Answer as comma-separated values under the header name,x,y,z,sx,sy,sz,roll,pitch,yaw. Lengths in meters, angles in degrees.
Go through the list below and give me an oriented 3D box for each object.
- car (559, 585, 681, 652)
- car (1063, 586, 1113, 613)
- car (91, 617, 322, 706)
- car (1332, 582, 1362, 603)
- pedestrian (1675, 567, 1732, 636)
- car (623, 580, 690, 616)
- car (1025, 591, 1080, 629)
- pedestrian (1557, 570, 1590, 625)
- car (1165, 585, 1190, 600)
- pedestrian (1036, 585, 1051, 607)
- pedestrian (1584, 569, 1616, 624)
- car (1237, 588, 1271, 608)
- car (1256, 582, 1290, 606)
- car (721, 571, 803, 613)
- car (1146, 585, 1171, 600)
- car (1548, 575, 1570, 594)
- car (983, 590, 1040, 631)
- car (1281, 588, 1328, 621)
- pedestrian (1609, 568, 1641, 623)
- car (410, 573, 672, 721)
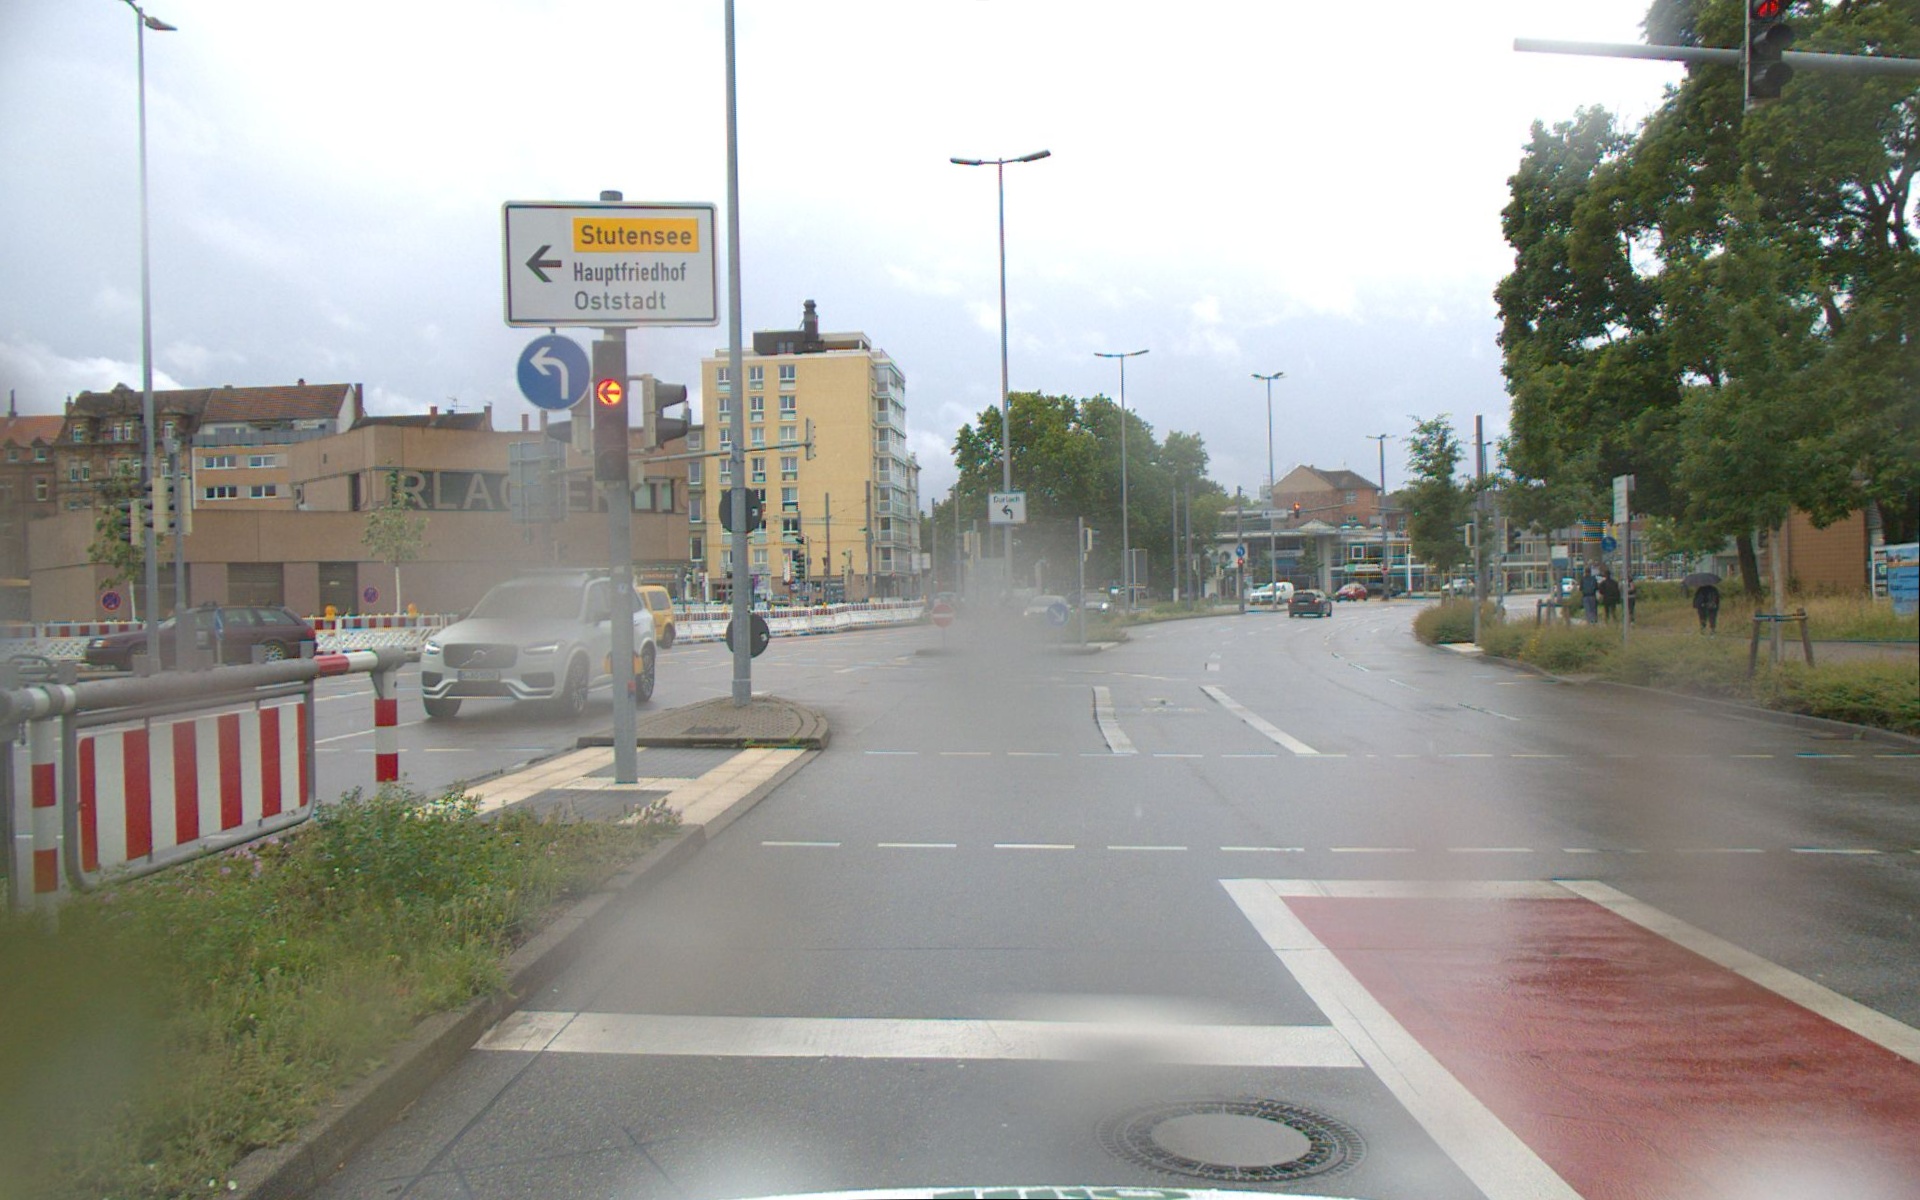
name,x,y,z,sx,sy,sz,roll,pitch,yaw
car,-9.414,0.483,46.085,1.669,1.735,4.156,-1,0,14
car,6.942,-0.037,89.418,1.735,1.400,4.122,0,0,19
car,-16.699,1.319,36.764,4.414,1.735,1.688,-2,0,-38
car,33.052,-0.666,141.230,1.754,1.672,4.044,-1,0,25
pedestrian,17.762,0.037,39.527,1.000,1.615,0.937,-1,0,10
car,-26.183,-0.168,142.950,5.239,2.937,2.340,-2,0,2
car,4.170,0.429,74.119,1.658,1.440,4.188,-2,2,14
pedestrian,18.422,-0.084,49.687,0.737,1.615,0.937,-1,0,10
car,25.129,-0.892,191.241,1.754,1.672,4.158,-1,0,23
pedestrian,7.295,-0.362,144.588,1.070,1.845,1.117,-1,0,-4
pedestrian,19.157,-0.104,49.507,0.688,1.615,0.937,-1,0,10
car,25.821,-0.169,145.253,1.755,1.672,4.392,-1,0,27
car,25.507,-0.526,134.761,1.754,1.890,4.157,-1,0,24
car,-17.004,-0.694,142.390,6.601,3.439,2.810,-2,0,2
car,23.098,-0.849,192.051,1.754,1.672,4.158,-1,0,23
car,52.845,-1.379,145.811,1.753,1.672,4.160,-1,0,21
car,2.511,0.488,79.705,1.658,1.720,4.187,-2,2,17
car,18.348,0.236,88.023,1.753,1.672,4.160,-1,0,21
pedestrian,19.936,-0.126,49.581,0.688,1.615,0.937,-1,0,10
car,-5.408,0.514,22.128,1.788,1.711,5.169,1,1,5
